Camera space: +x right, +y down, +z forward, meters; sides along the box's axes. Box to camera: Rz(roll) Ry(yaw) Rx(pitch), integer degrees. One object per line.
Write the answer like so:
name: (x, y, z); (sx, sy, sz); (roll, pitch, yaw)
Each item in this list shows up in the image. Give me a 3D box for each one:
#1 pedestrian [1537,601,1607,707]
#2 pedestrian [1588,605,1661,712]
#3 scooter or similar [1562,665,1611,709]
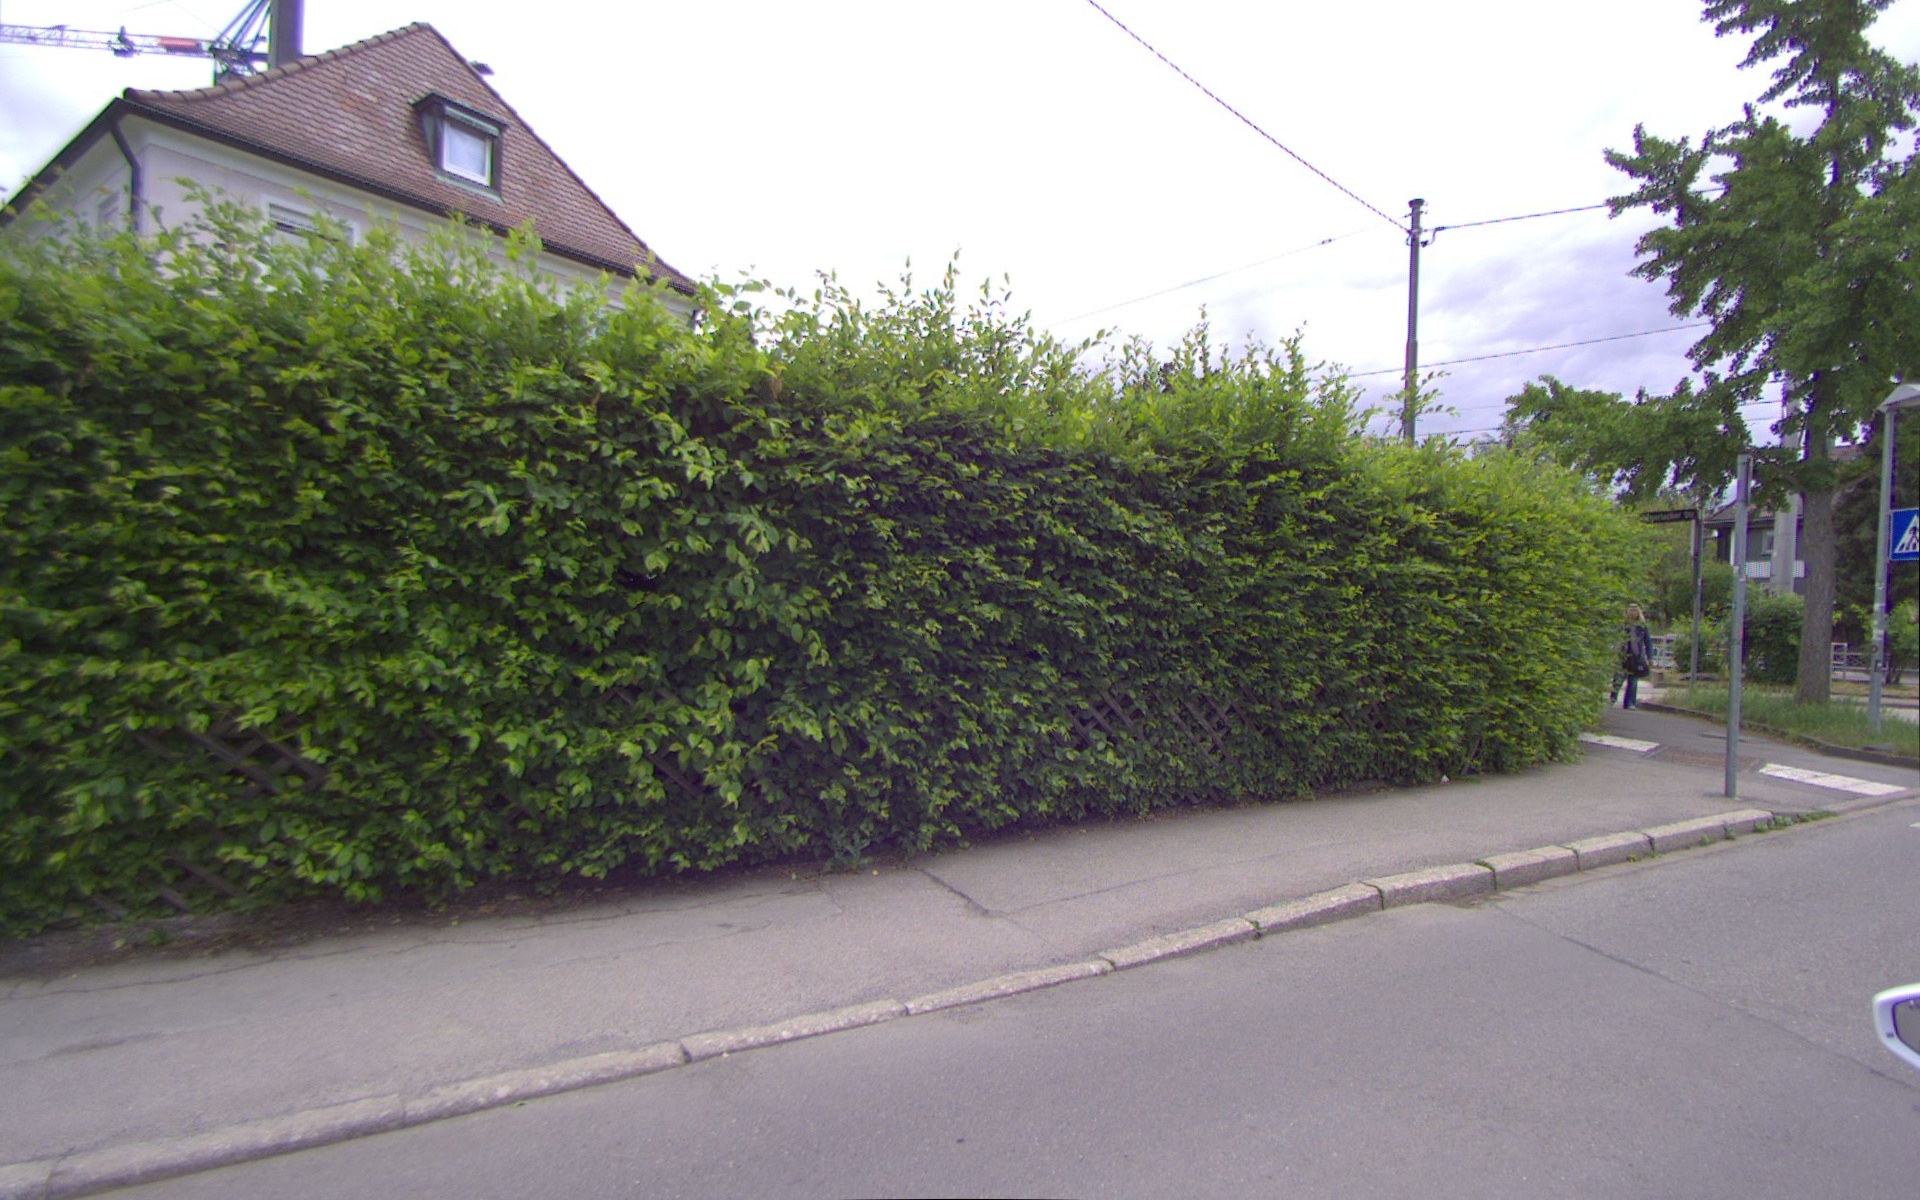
pedestrian: (9.958, 0.862, 16.354); (0.664, 1.641, 0.598); (3, 2, 1)
pedestrian: (10.662, 0.925, 16.132); (0.664, 1.641, 0.598); (3, 2, 1)
scooter or similar: (9.890, 1.373, 15.872); (0.479, 0.618, 0.400); (4, 3, 1)
